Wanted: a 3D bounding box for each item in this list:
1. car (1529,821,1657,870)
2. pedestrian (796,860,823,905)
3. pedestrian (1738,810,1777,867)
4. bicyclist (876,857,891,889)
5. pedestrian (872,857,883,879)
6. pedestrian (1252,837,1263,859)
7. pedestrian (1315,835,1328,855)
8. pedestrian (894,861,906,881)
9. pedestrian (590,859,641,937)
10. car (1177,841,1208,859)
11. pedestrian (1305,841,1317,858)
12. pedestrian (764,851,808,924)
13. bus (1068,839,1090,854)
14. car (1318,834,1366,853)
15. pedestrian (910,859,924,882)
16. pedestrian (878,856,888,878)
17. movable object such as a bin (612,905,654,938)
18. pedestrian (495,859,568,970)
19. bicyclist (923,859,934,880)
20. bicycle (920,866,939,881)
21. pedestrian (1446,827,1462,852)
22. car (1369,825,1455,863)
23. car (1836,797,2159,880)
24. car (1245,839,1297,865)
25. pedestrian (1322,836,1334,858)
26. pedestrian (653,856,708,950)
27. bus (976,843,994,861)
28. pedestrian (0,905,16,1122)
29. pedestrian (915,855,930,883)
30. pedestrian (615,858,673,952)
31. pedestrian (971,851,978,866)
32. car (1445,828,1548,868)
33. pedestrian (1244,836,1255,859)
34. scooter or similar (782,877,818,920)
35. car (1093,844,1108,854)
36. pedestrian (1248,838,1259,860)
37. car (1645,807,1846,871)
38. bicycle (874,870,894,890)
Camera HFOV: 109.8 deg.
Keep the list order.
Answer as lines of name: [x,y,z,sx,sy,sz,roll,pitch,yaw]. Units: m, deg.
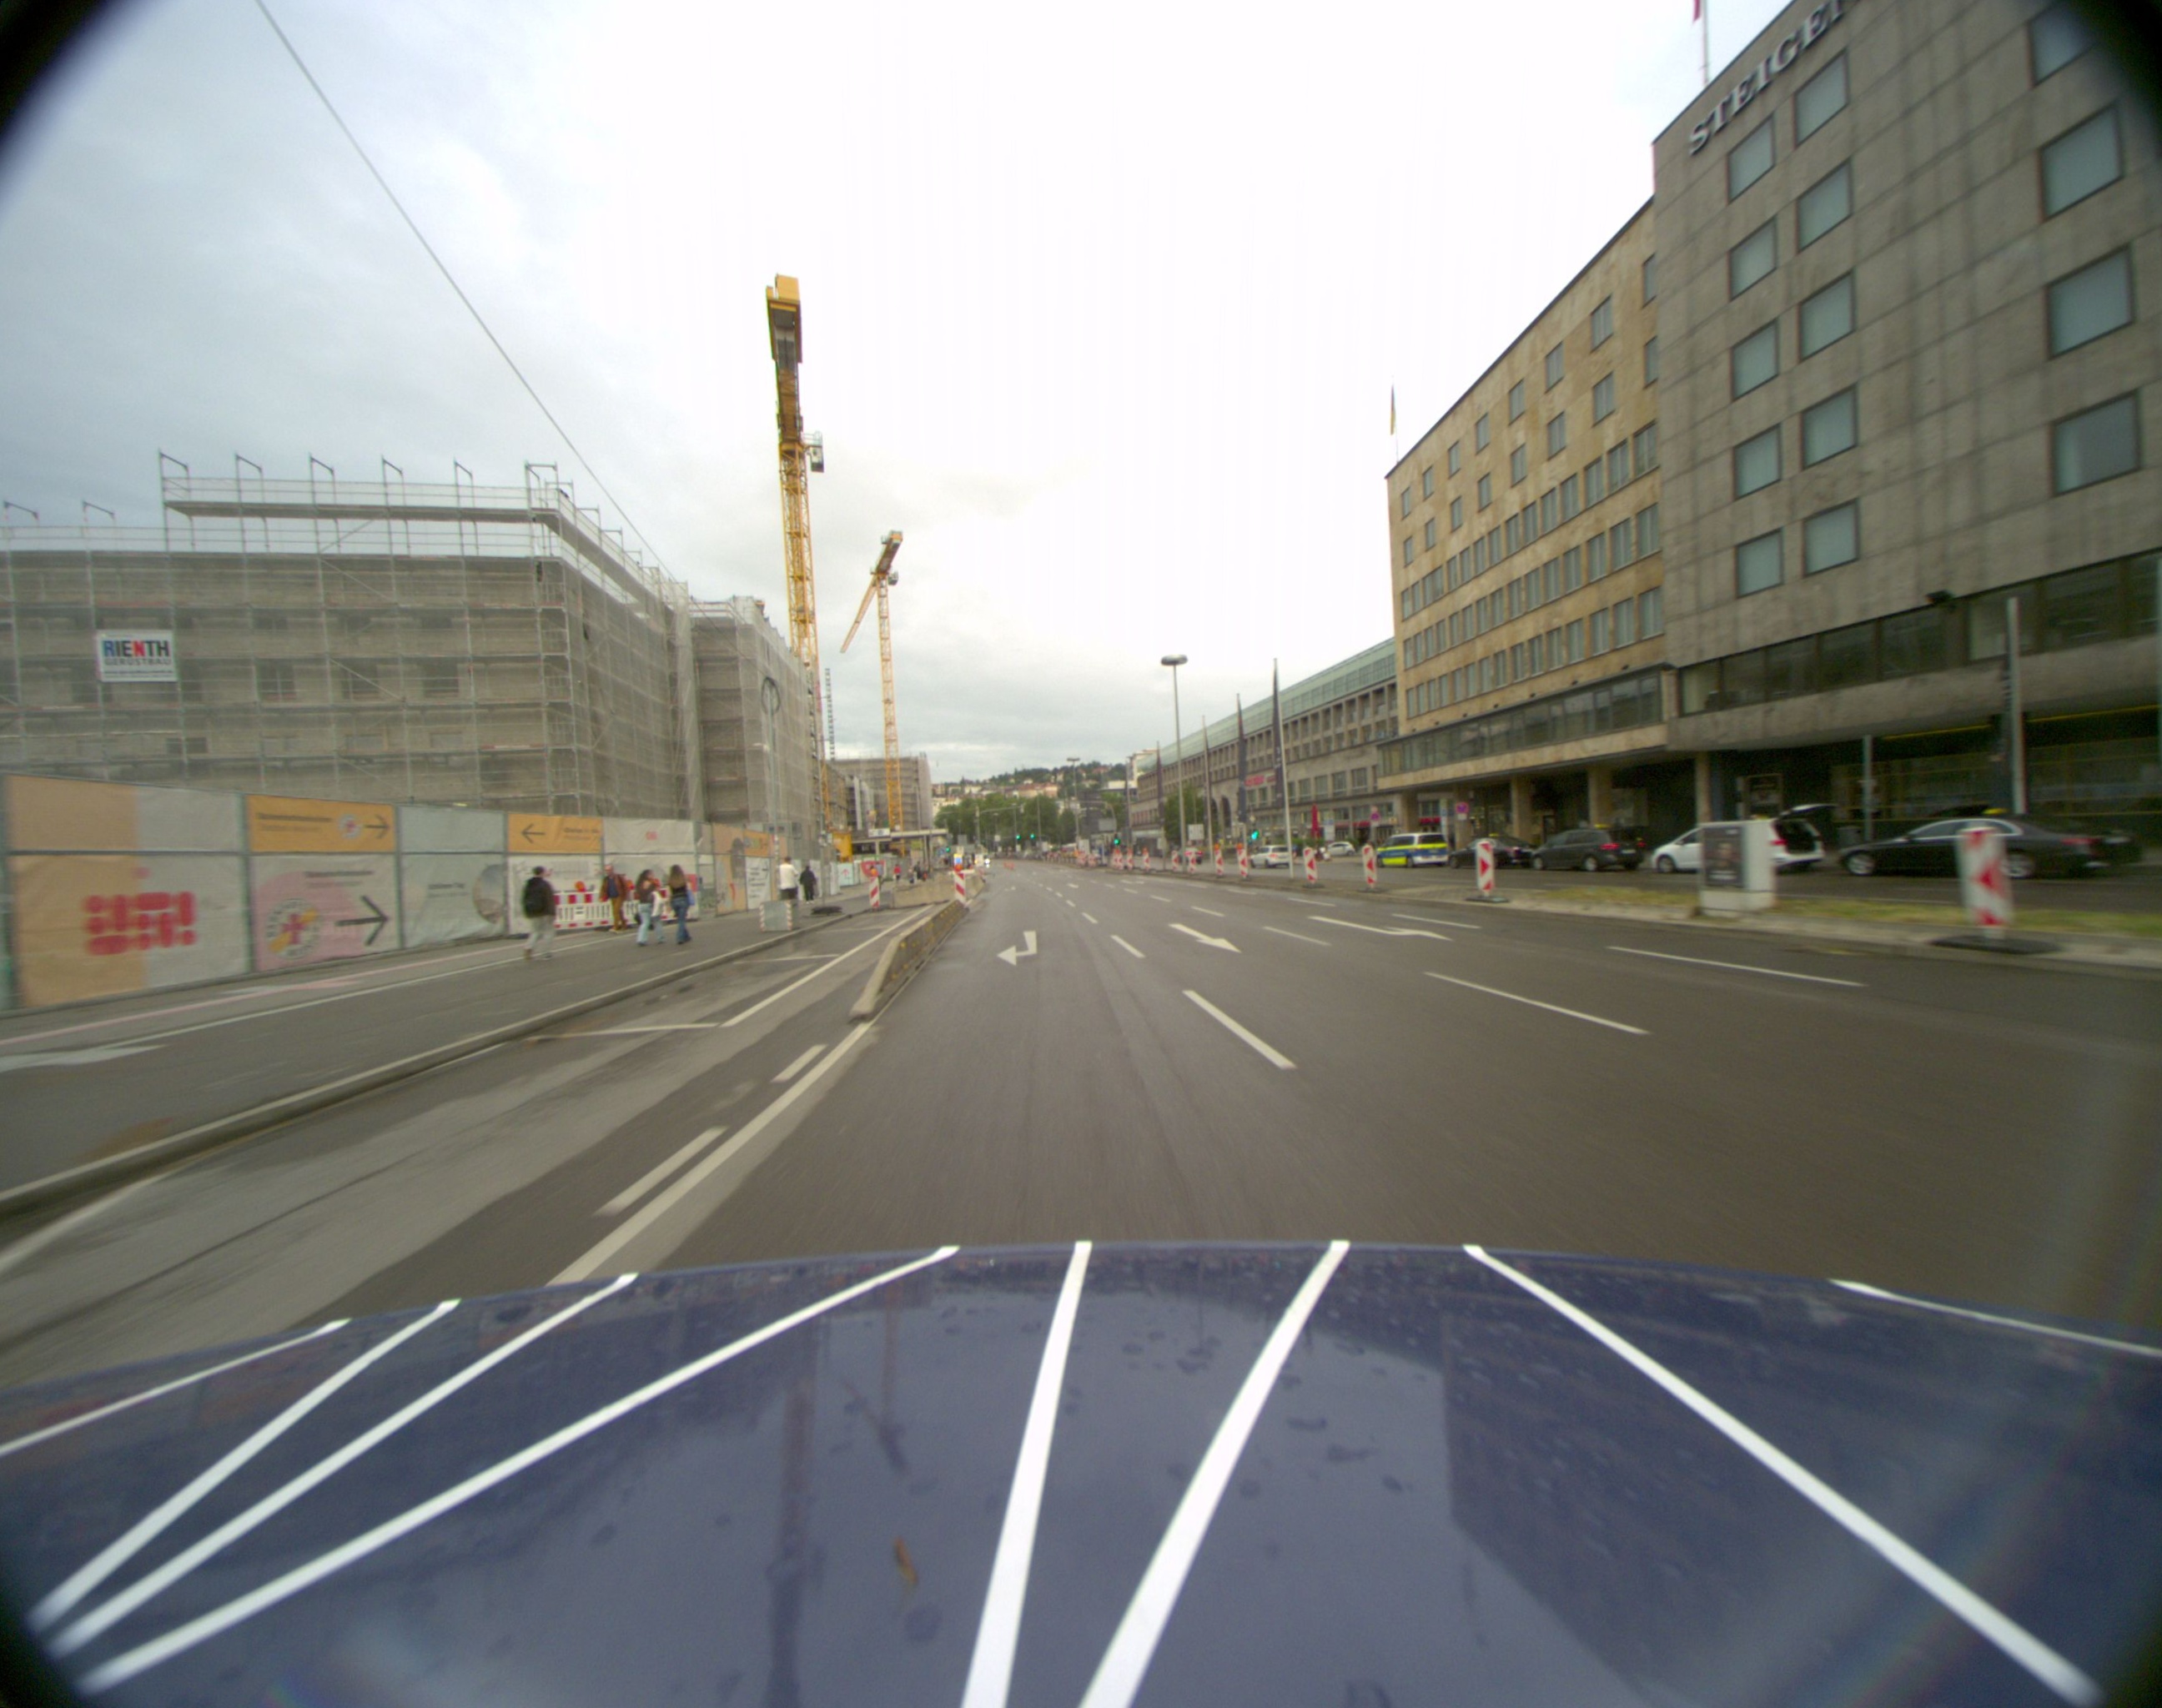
car: [19.795,-0.303,29.623,1.760,1.671,4.226,-3,0,-7]
pedestrian: [-11.804,1.221,33.097,0.851,1.884,0.662,-3,1,-3]
pedestrian: [21.808,-0.488,24.501,0.623,1.771,0.657,-5,2,-7]
bicyclist: [-12.446,1.191,47.865,0.728,2.002,0.599,-3,1,-3]
pedestrian: [-18.611,1.304,69.614,0.640,2.002,0.628,-3,1,16]
pedestrian: [15.491,-0.498,66.587,0.591,1.914,0.751,-3,1,-9]
pedestrian: [19.151,-0.739,60.596,0.667,1.583,0.680,-3,1,-23]
pedestrian: [-15.405,1.441,64.702,0.744,1.717,0.712,0,1,-32]
pedestrian: [-11.689,1.098,19.110,0.769,1.884,0.653,-3,1,-3]
car: [10.824,-0.362,74.146,1.779,1.659,4.497,-2,1,-7]
pedestrian: [18.468,-0.356,61.048,0.565,1.284,0.752,-3,1,-10]
pedestrian: [-8.450,0.933,21.798,0.805,2.005,0.971,-3,1,-3]
bus: [-0.529,-1.555,164.283,2.911,2.923,9.813,-3,1,-11]
car: [25.764,-1.033,75.068,4.092,1.630,1.805,-3,1,-3]
pedestrian: [-12.921,1.318,59.913,0.815,1.746,0.881,-3,1,-3]
pedestrian: [-18.629,1.211,71.379,0.629,2.002,0.577,-4,1,-40]
movable object such as a bin: [-11.514,1.727,19.545,0.598,0.730,0.777,-3,1,-4]
pedestrian: [-9.690,1.041,13.427,0.685,1.878,0.693,-3,1,-6]
bicyclist: [-12.497,1.248,62.175,0.696,1.695,0.434,-3,1,10]
bicycle: [-12.429,1.571,62.351,0.755,1.127,1.993,-1,1,11]
pedestrian: [28.073,-1.069,57.186,0.717,1.864,0.772,-3,1,-3]
car: [18.379,-0.481,42.518,1.906,1.917,5.072,-2,0,-9]
car: [21.512,-0.328,18.211,1.909,1.650,4.613,-3,0,-8]
car: [13.194,-0.153,52.976,1.830,1.659,4.496,-3,1,-8]
pedestrian: [19.325,-0.551,59.536,0.565,1.659,0.752,-3,1,-10]
pedestrian: [-8.313,1.005,15.809,0.685,1.878,0.693,-3,1,-3]
bus: [-18.915,-0.376,149.012,3.001,3.120,7.757,-3,1,-10]
pedestrian: [-8.075,1.075,5.067,0.644,1.730,0.837,-3,1,-5]
pedestrian: [-11.748,1.098,56.260,0.788,2.000,0.865,-3,1,1]
pedestrian: [-9.043,1.032,15.749,0.685,1.878,0.693,-3,1,-3]
pedestrian: [-14.497,0.635,103.352,0.735,2.002,0.645,-3,1,-14]
car: [19.105,-0.275,35.208,1.760,1.612,4.561,-3,1,-9]
pedestrian: [15.177,-0.561,68.460,0.705,2.002,0.806,-3,1,-8]
scooter or similar: [-8.473,1.329,22.932,0.666,1.191,1.043,-3,1,-3]
car: [3.363,-0.890,129.560,1.760,1.612,3.996,-3,1,-9]
pedestrian: [15.333,-0.478,67.595,0.715,1.914,0.592,-2,1,33]
car: [20.637,-0.443,23.928,1.760,1.748,4.707,-3,1,-9]
bicycle: [-12.422,1.639,47.972,0.768,1.105,1.980,-3,1,-3]
